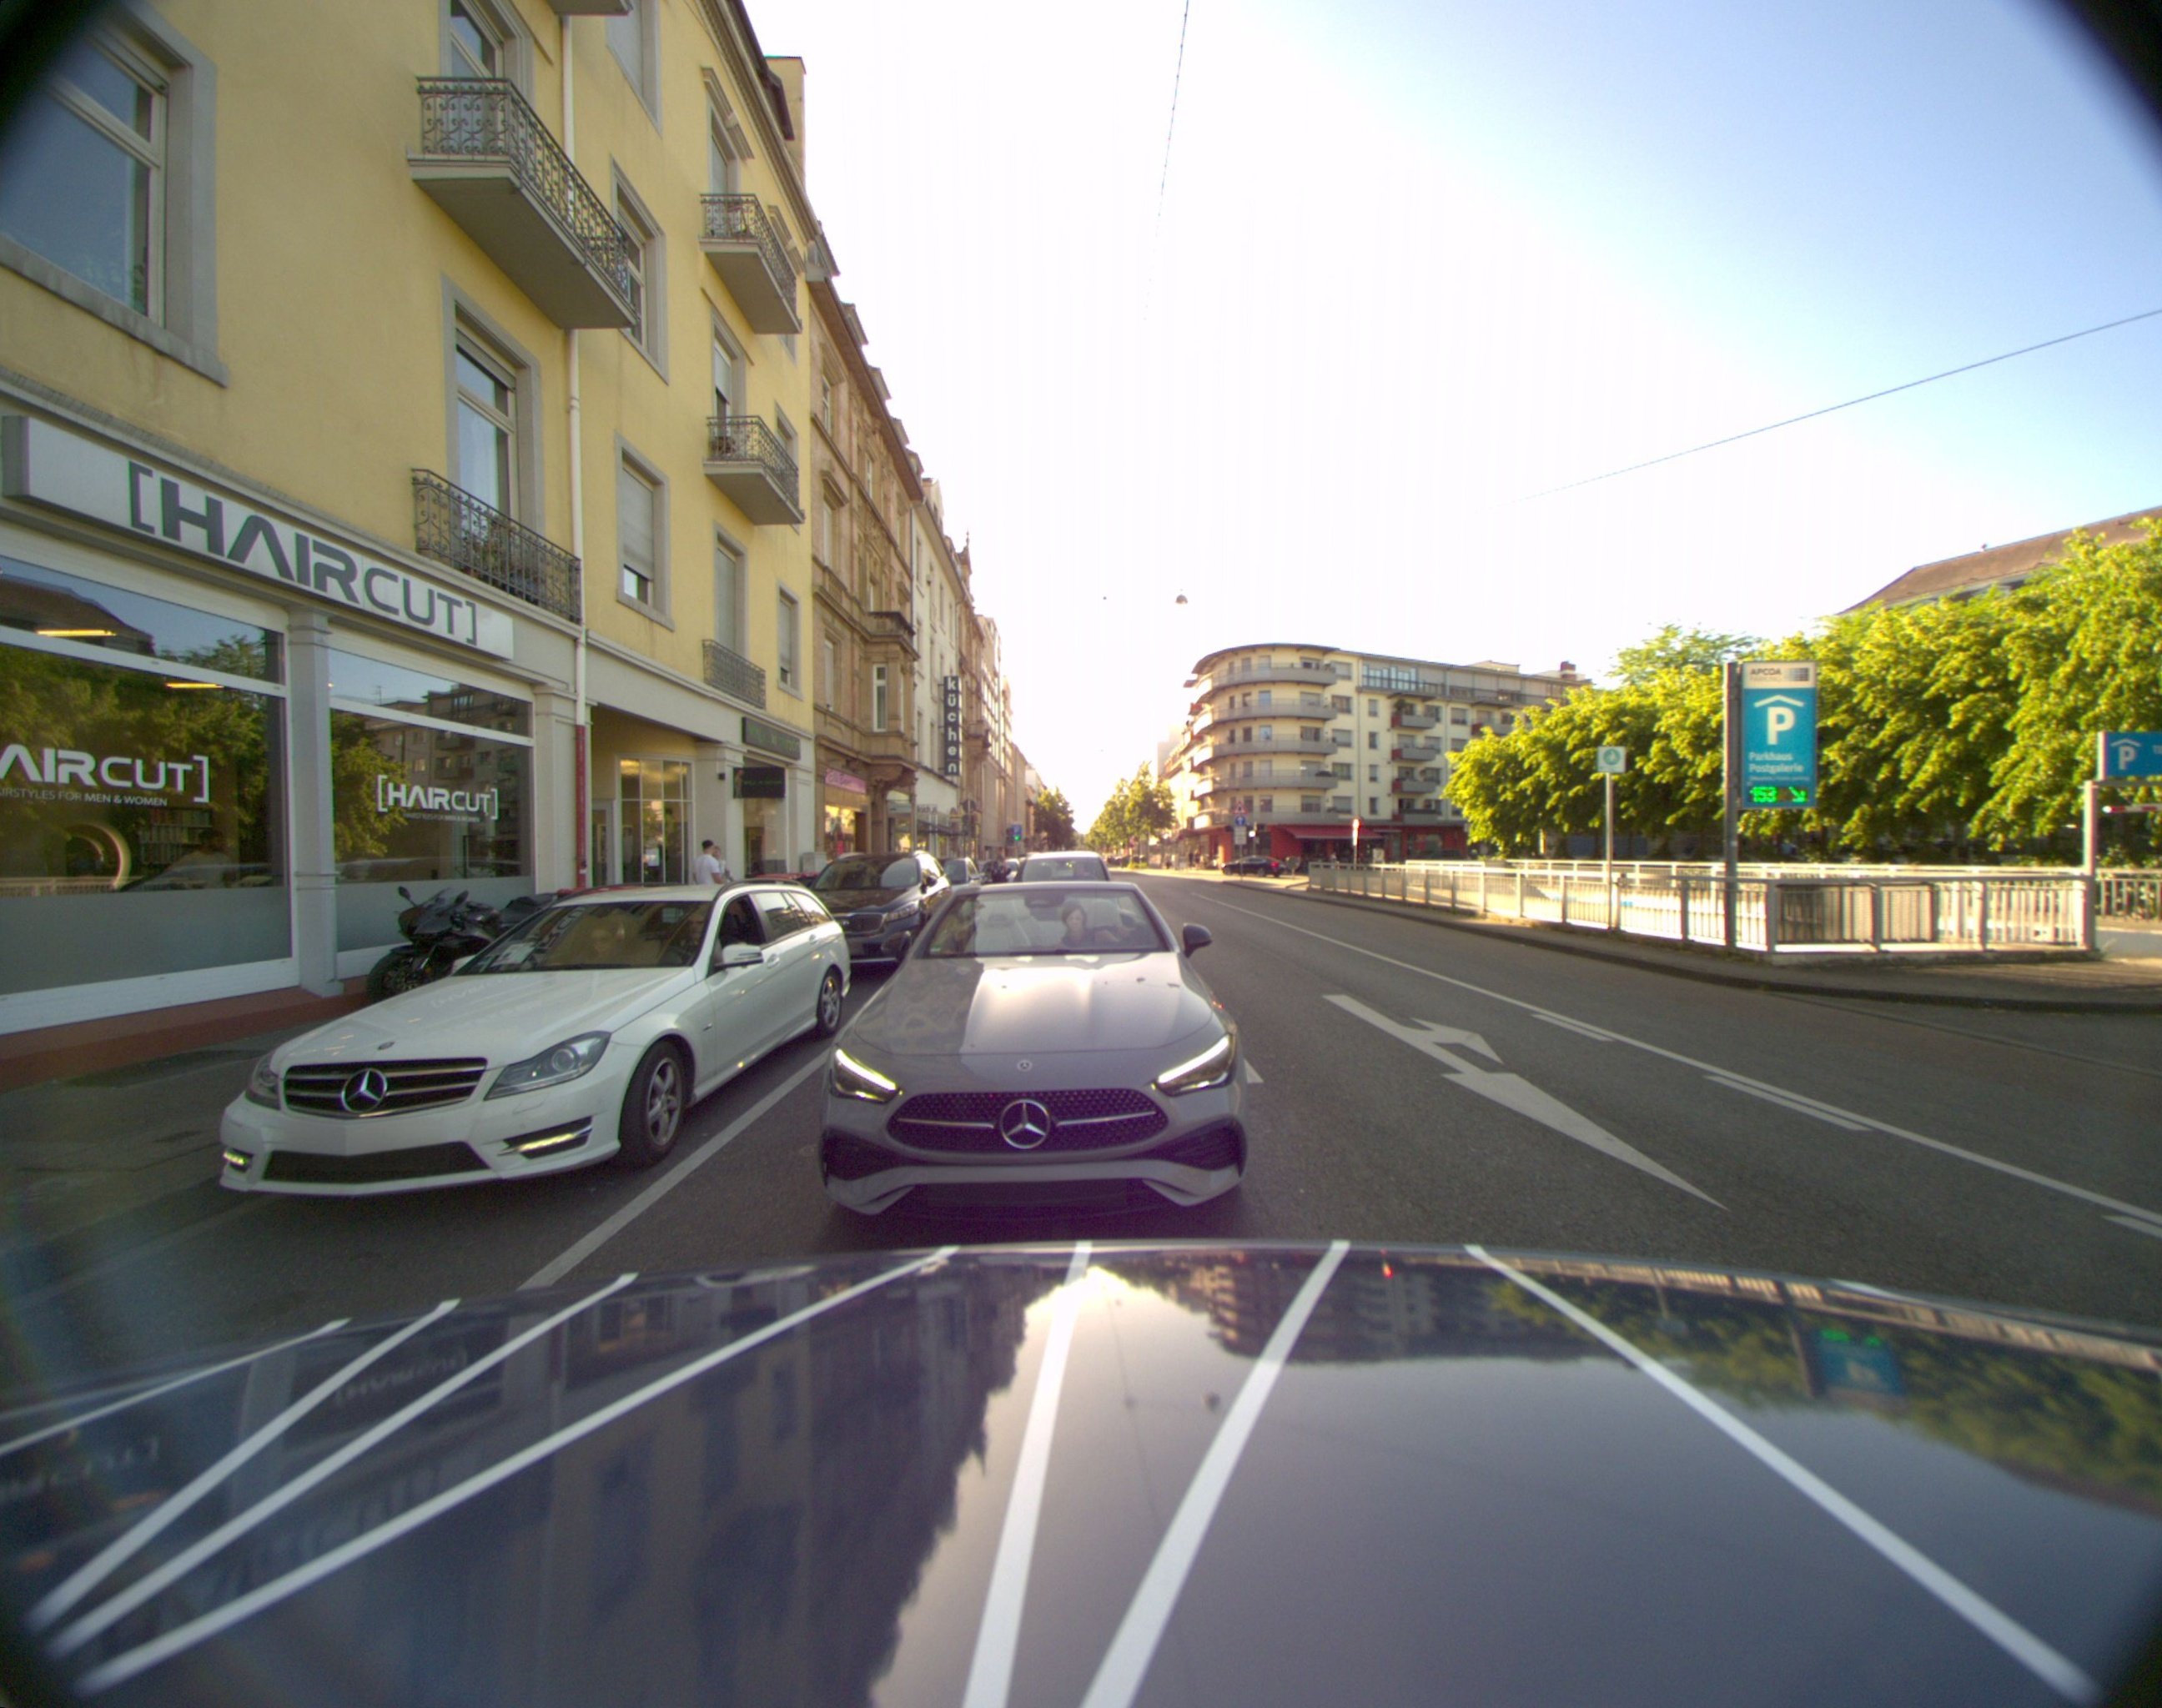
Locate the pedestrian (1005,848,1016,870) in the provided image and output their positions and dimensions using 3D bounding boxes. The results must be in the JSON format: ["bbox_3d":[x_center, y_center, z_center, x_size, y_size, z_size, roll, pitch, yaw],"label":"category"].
[{"bbox_3d":[-5.883,0.421,63.628,0.826,1.750,0.823,-2,1,-1],"label":"pedestrian"}]

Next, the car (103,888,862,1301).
[{"bbox_3d":[-3.034,1.073,5.246,1.672,1.364,4.377,-2,1,1],"label":"car"}]

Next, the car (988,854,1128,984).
[{"bbox_3d":[-0.373,0.894,12.756,1.866,1.658,4.706,-2,1,-2],"label":"car"}]

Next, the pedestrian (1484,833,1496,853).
[{"bbox_3d":[38.354,-1.004,71.206,0.747,1.832,0.684,-2,1,1],"label":"pedestrian"}]

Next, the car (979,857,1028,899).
[{"bbox_3d":[-3.035,0.902,30.311,1.695,1.482,3.796,-2,1,-3],"label":"car"}]

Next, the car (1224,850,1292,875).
[{"bbox_3d":[11.899,0.566,51.300,1.680,1.522,4.236,-1,2,-42],"label":"car"}]

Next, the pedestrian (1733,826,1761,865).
[{"bbox_3d":[32.178,-0.392,36.739,0.748,1.852,0.683,-2,1,-13],"label":"pedestrian"}]

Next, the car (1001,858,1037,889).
[{"bbox_3d":[-2.963,0.900,36.680,1.461,1.310,3.363,-2,1,-1],"label":"car"}]

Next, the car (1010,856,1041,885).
[{"bbox_3d":[-2.951,0.866,40.948,1.461,1.391,3.363,-2,1,-1],"label":"car"}]

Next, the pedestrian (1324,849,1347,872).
[{"bbox_3d":[18.473,0.476,55.125,1.269,1.656,1.142,-1,1,37],"label":"pedestrian"}]

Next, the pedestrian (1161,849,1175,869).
[{"bbox_3d":[7.862,0.434,68.729,1.068,1.709,1.081,-2,1,2],"label":"pedestrian"}]

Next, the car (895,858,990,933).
[{"bbox_3d":[-3.190,0.906,17.988,1.583,1.514,2.998,-2,1,1],"label":"car"}]

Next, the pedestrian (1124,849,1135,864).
[{"bbox_3d":[6.068,0.268,94.987,1.222,1.826,1.202,-2,1,-3],"label":"pedestrian"}]

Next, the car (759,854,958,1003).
[{"bbox_3d":[-3.021,0.890,11.337,1.806,1.680,4.408,-2,1,-3],"label":"car"}]

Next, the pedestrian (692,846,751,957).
[{"bbox_3d":[-6.157,0.795,13.059,0.630,1.826,0.770,-2,1,-7],"label":"pedestrian"}]

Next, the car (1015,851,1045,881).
[{"bbox_3d":[-3.162,0.716,47.546,1.695,1.670,3.880,-2,1,-3],"label":"car"}]

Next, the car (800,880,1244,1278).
[{"bbox_3d":[-0.290,0.997,5.357,1.769,1.360,4.471,-2,1,-2],"label":"car"}]

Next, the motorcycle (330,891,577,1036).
[{"bbox_3d":[-6.263,1.024,7.787,0.735,1.124,2.109,2,1,1],"label":"motorcycle"}]

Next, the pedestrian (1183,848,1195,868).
[{"bbox_3d":[10.485,0.358,73.834,0.990,1.908,0.790,-2,1,-3],"label":"pedestrian"}]

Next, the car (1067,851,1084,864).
[{"bbox_3d":[-0.667,0.426,96.438,1.696,1.437,3.573,-2,1,-8],"label":"car"}]

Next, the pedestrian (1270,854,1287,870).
[{"bbox_3d":[15.420,0.651,59.379,0.937,1.191,0.832,-3,1,-24],"label":"pedestrian"}]

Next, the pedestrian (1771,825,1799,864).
[{"bbox_3d":[33.716,-0.438,36.388,0.748,1.832,0.683,-2,1,-13],"label":"pedestrian"}]

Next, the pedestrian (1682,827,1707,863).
[{"bbox_3d":[31.898,-0.451,39.490,0.748,1.832,0.683,-3,1,-21],"label":"pedestrian"}]

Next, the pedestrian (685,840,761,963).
[{"bbox_3d":[-5.742,0.731,12.205,0.975,1.866,0.534,-3,1,-31],"label":"pedestrian"}]

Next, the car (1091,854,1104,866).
[{"bbox_3d":[2.654,0.938,123.476,1.836,1.831,3.886,1,1,-2],"label":"car"}]

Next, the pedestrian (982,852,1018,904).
[{"bbox_3d":[-2.756,0.816,25.946,0.835,1.709,0.821,-1,1,33],"label":"pedestrian"}]

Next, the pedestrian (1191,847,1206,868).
[{"bbox_3d":[9.964,0.254,64.639,1.060,1.739,0.962,-2,1,1],"label":"pedestrian"}]
